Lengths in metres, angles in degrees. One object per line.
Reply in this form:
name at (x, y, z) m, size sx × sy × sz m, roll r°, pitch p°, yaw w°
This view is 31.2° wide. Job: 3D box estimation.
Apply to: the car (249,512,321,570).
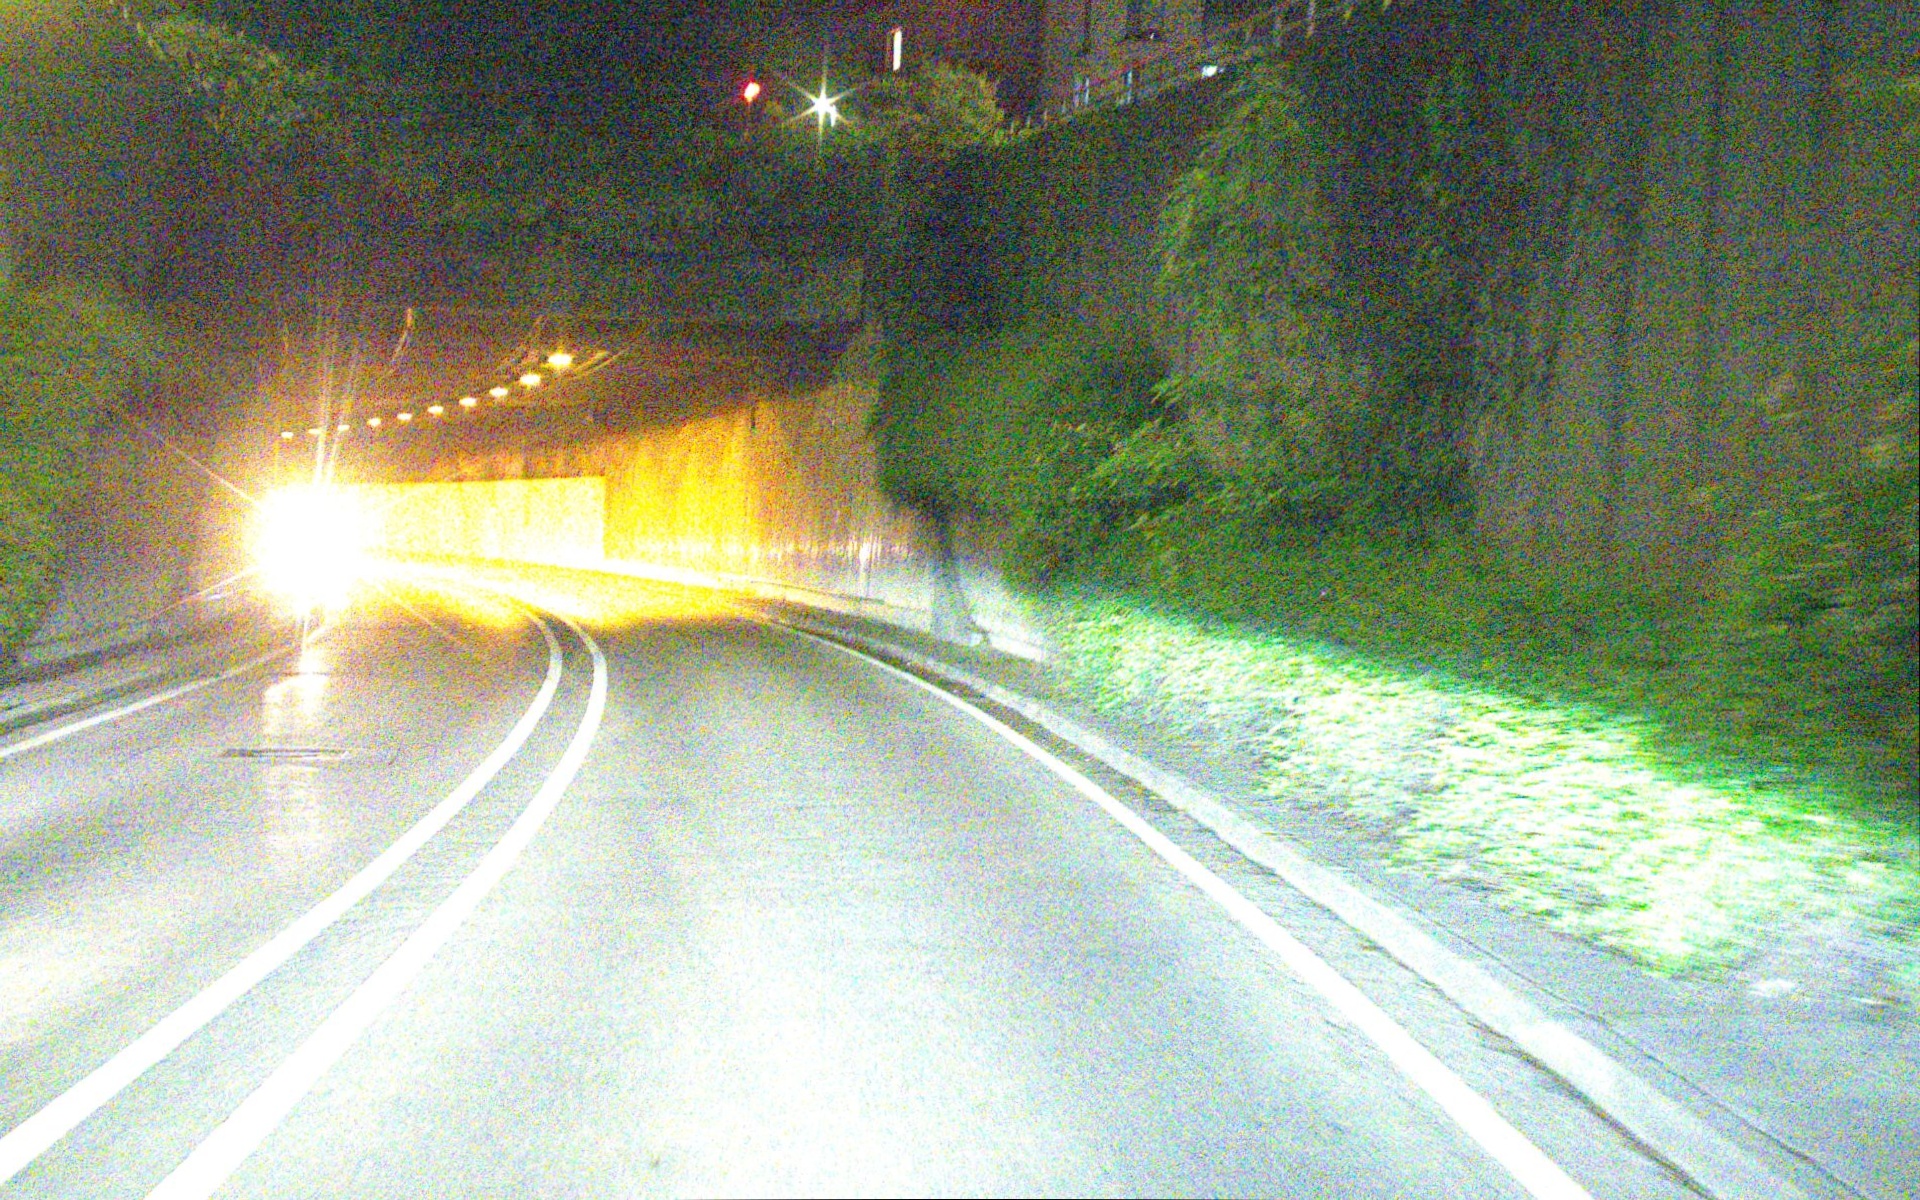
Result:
car at (-22.891, -2.002, 116.454) m, size 1.993 × 1.734 × 4.001 m, roll 6°, pitch 0°, yaw -15°
